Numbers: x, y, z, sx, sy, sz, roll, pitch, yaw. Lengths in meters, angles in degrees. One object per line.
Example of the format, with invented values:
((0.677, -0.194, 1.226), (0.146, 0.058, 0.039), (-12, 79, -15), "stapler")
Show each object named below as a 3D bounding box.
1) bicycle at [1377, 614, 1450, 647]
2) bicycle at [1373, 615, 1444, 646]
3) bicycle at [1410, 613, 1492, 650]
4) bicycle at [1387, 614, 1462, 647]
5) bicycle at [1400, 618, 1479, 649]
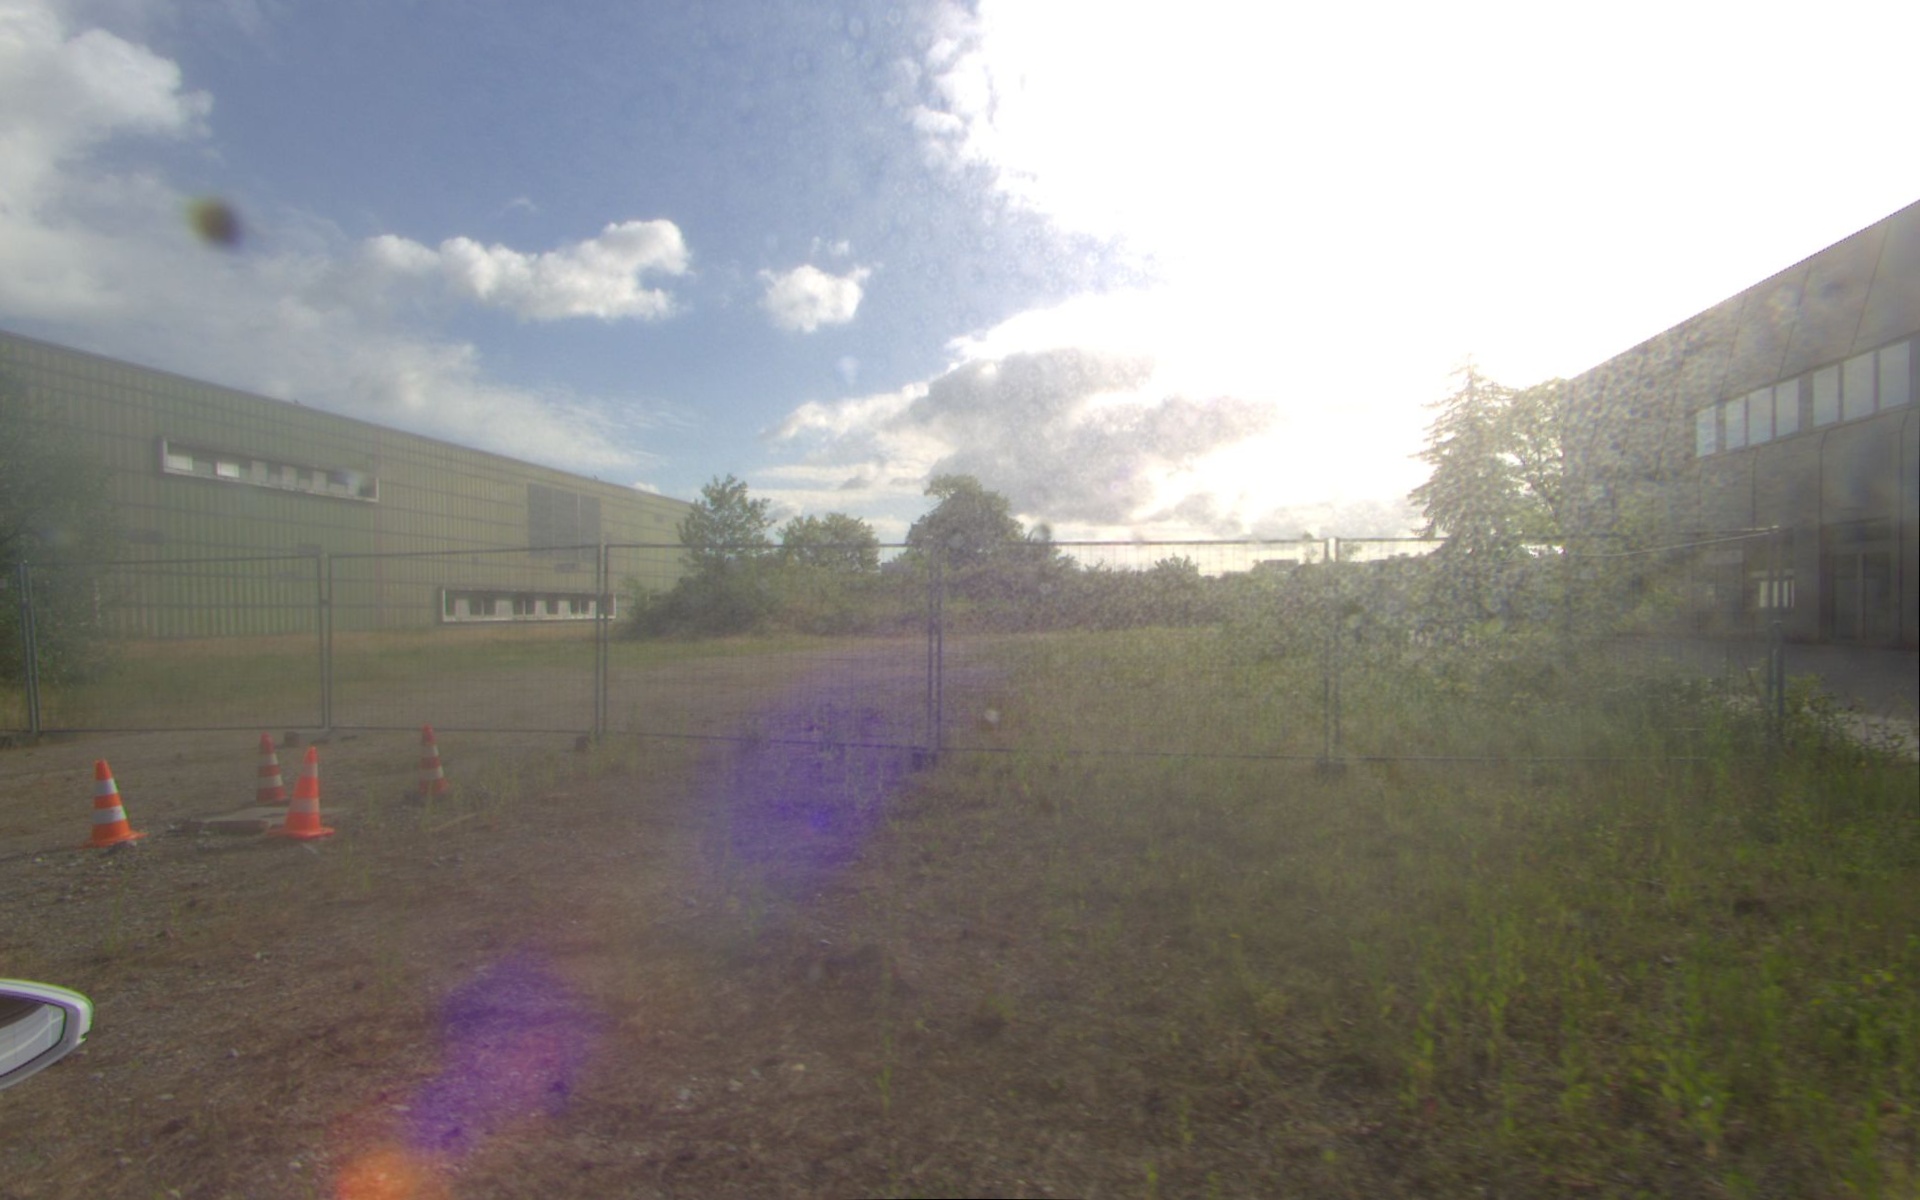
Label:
((15.234, 1.025, 33.677), (2.029, 1.058, 0.946), (-1, 0, 7), "bicycle")
((15.508, 1.051, 34.661), (2.029, 1.058, 0.946), (-1, 0, 7), "bicycle")
((14.839, 0.955, 30.318), (2.029, 1.101, 0.946), (-1, 0, 7), "bicycle")
((15.082, 0.993, 32.567), (2.029, 1.058, 0.946), (-1, 0, 7), "bicycle")
((15.084, 1.048, 31.548), (2.029, 0.933, 0.946), (-1, 0, 7), "bicycle")
